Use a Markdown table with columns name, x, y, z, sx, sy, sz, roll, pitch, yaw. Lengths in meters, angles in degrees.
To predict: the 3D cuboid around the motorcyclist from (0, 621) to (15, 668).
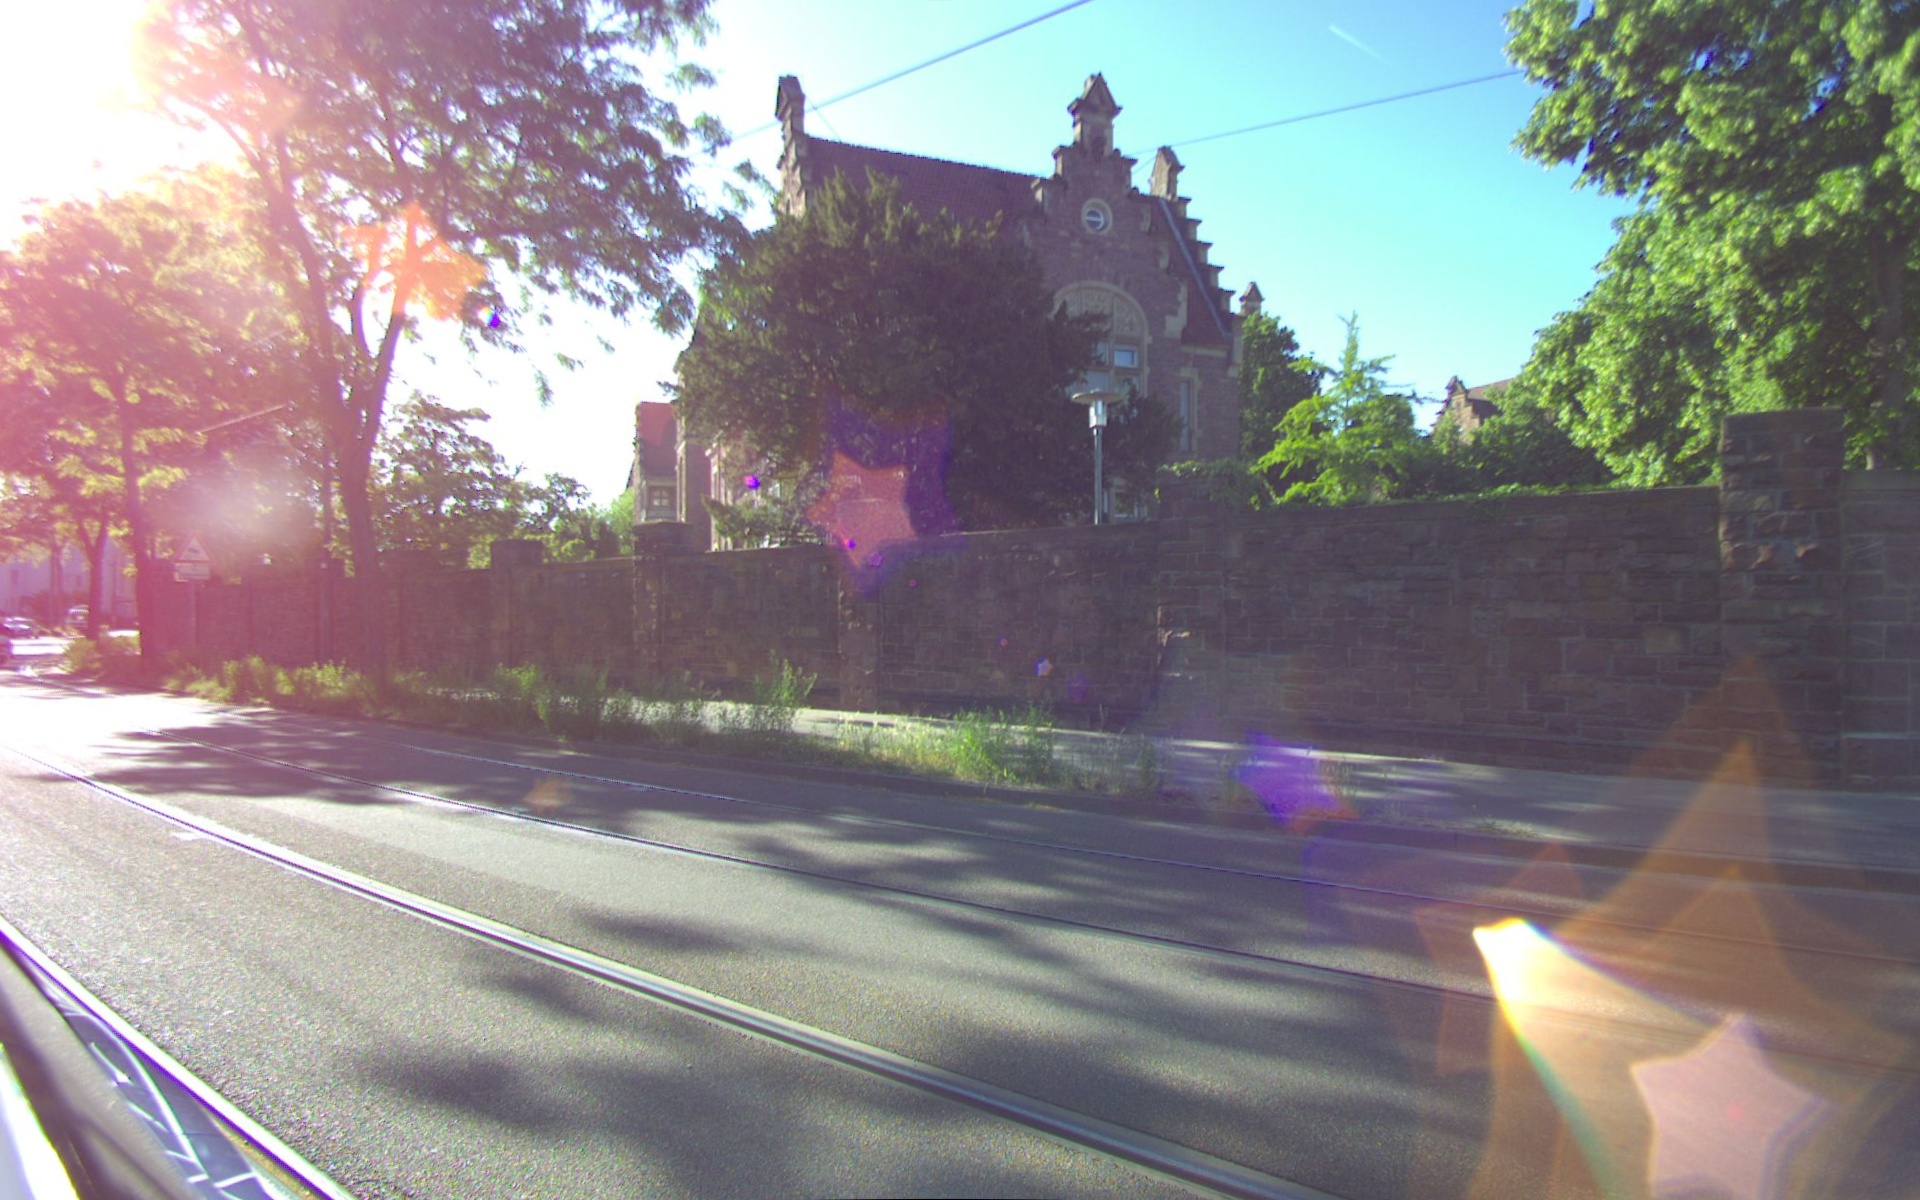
| name | x | y | z | sx | sy | sz | roll | pitch | yaw |
| --- | --- | --- | --- | --- | --- | --- | --- | --- | --- |
| motorcyclist | -30.268 | 1.405 | 31.845 | 0.445 | 1.451 | 0.678 | -1 | -1 | 34 |

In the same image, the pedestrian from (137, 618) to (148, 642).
| name | x | y | z | sx | sy | sz | roll | pitch | yaw |
| --- | --- | --- | --- | --- | --- | --- | --- | --- | --- |
| pedestrian | -84.834 | 3.095 | 104.973 | 0.756 | 2.385 | 0.929 | -1 | 0 | -33 |

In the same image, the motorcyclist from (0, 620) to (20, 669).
| name | x | y | z | sx | sy | sz | roll | pitch | yaw |
| --- | --- | --- | --- | --- | --- | --- | --- | --- | --- |
| motorcyclist | -29.832 | 1.384 | 31.596 | 0.464 | 1.527 | 0.601 | -1 | -1 | 34 |

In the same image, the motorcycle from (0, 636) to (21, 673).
| name | x | y | z | sx | sy | sz | roll | pitch | yaw |
| --- | --- | --- | --- | --- | --- | --- | --- | --- | --- |
| motorcycle | -30.285 | 1.711 | 31.903 | 1.851 | 1.101 | 0.604 | -1 | -1 | 33 |
